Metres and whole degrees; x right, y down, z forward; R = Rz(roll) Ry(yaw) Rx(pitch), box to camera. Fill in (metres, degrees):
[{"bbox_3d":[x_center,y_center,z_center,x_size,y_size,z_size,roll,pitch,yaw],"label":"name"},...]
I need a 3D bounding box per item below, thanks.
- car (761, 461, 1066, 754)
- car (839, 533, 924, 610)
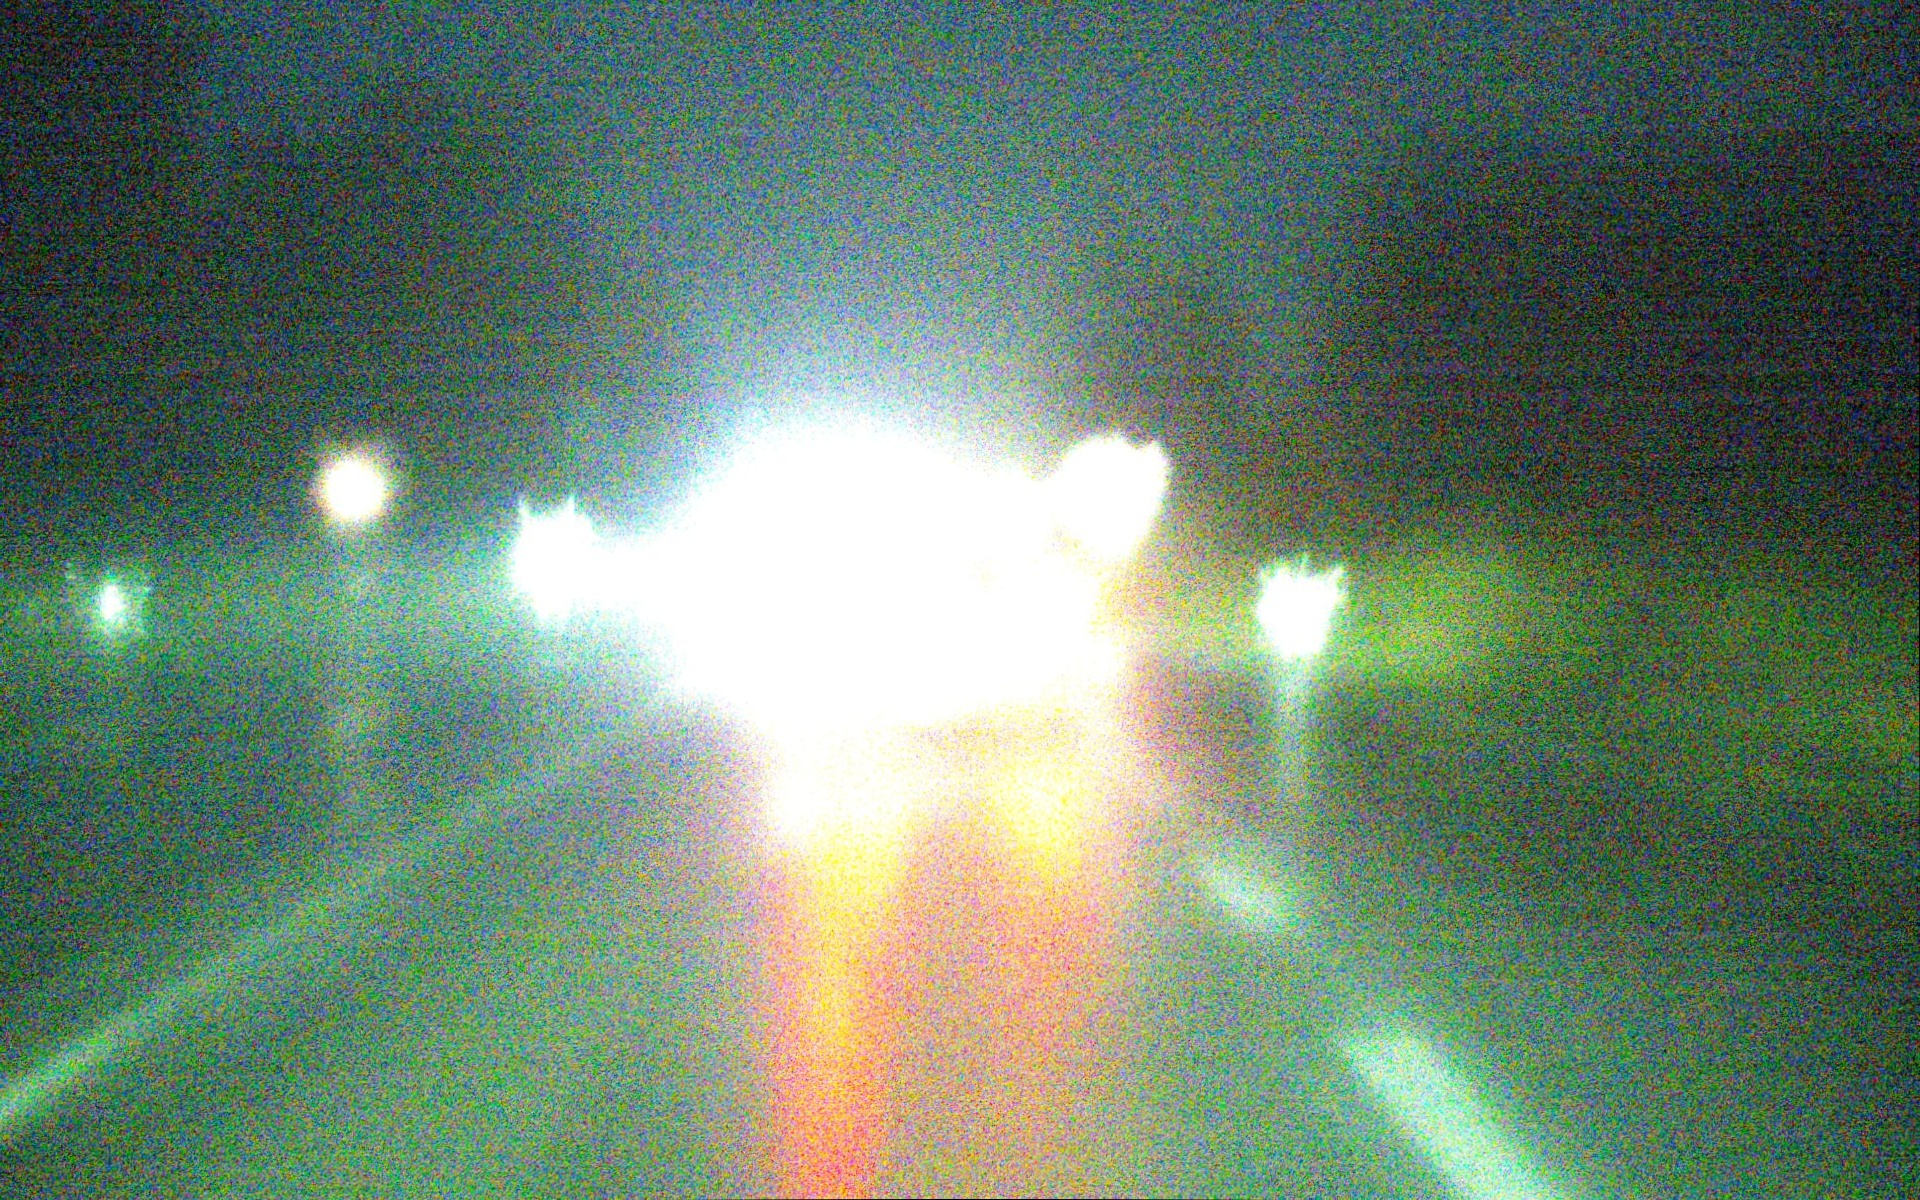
[{"bbox_3d":[-0.338,0.016,25.916,2.093,2.007,4.000,1,1,0],"label":"car"},{"bbox_3d":[-1.728,-0.645,75.437,1.808,1.616,4.000,0,1,-1],"label":"car"}]
